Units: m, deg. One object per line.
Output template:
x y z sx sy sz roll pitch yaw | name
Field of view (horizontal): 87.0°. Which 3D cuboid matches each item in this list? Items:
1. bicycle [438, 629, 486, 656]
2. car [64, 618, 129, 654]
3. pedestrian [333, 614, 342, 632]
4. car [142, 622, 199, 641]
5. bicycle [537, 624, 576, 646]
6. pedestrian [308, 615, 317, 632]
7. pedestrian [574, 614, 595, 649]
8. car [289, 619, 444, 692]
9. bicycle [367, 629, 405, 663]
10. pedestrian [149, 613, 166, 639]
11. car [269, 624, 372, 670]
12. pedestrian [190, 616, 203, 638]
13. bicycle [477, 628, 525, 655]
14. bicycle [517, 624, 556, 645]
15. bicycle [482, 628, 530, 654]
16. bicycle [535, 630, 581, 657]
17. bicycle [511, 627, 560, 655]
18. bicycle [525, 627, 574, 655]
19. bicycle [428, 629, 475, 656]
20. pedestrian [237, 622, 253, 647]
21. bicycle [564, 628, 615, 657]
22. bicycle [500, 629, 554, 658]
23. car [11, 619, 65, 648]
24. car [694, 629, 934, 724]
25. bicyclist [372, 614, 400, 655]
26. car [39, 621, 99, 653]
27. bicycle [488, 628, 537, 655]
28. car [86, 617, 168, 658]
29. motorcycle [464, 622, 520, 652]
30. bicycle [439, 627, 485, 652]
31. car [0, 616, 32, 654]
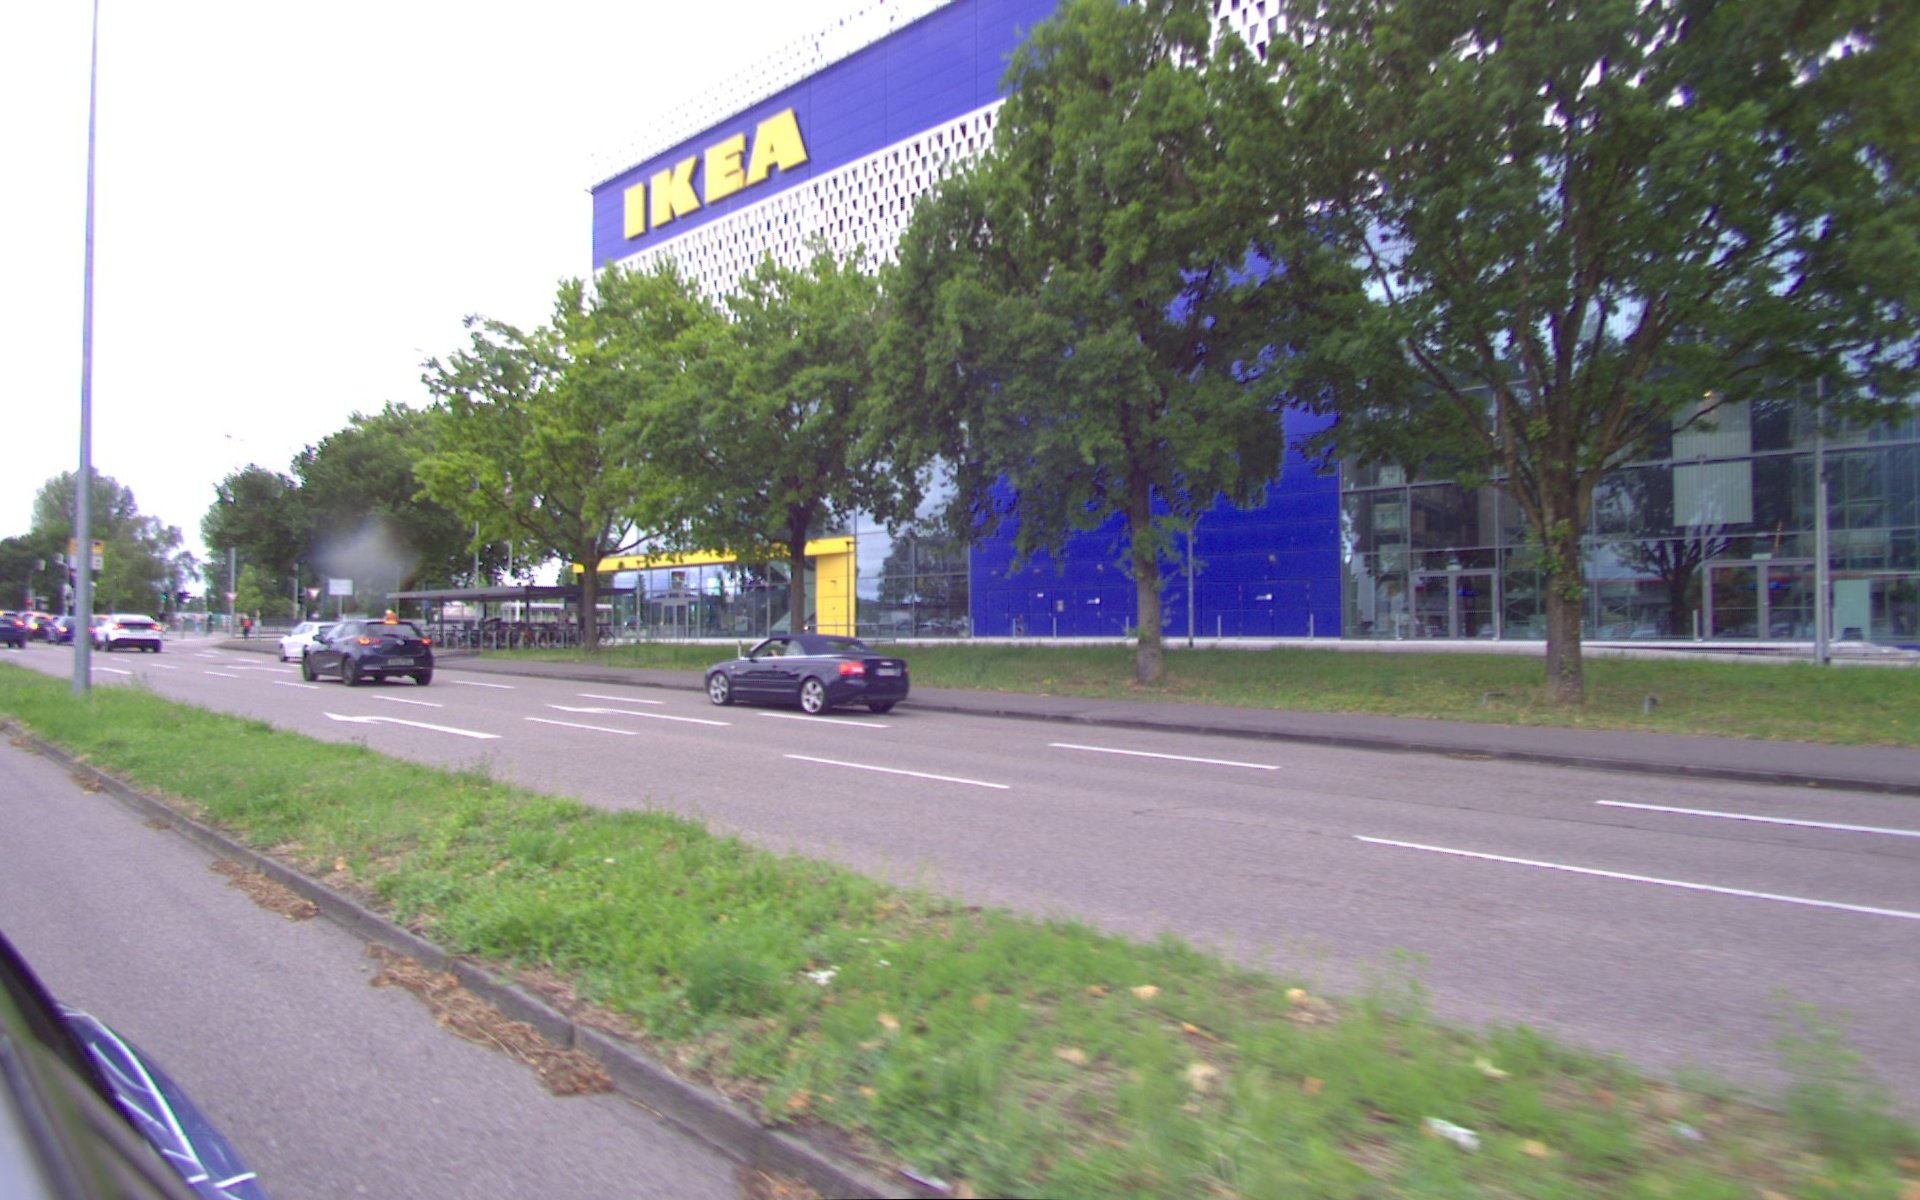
-22.718 1.928 46.225 0.593 1.165 1.874 -1 0 41 | bicycle
-39.434 1.634 46.201 4.035 1.509 1.586 0 -3 41 | car
-61.021 2.248 99.225 0.788 1.755 0.578 -4 -4 43 | pedestrian
-76.584 3.089 98.177 1.773 1.747 4.032 -4 -3 36 | car
-22.692 1.960 56.920 0.593 1.165 1.996 -1 0 39 | bicycle
-62.187 2.249 97.189 0.711 1.572 0.623 -4 -4 42 | pedestrian
-18.947 1.606 51.107 0.808 1.759 0.670 -2 -2 41 | pedestrian
-13.549 1.222 23.017 3.997 1.464 1.740 0 -3 40 | car
-22.523 1.788 39.728 2.055 1.260 0.636 -2 -1 41 | bicycle
-58.504 1.893 73.788 0.686 1.778 0.656 3 -2 38 | pedestrian
-22.531 1.633 35.592 4.165 1.465 1.847 -1 -4 40 | car
-59.143 2.102 78.416 0.766 1.725 0.666 -1 -2 45 | pedestrian
-21.839 1.959 48.184 0.593 1.165 1.995 -1 0 41 | bicycle
-24.471 1.993 58.520 0.593 1.165 1.996 -1 0 39 | bicycle
-21.351 1.920 47.666 0.593 1.165 1.995 -1 0 41 | bicycle
-17.615 1.877 44.390 0.593 1.090 1.791 -1 0 41 | bicycle
-19.428 1.872 46.335 0.593 1.165 1.995 -1 0 41 | bicycle
-18.438 1.829 45.492 0.593 1.165 1.995 -1 0 41 | bicycle
-23.552 1.957 46.912 0.593 1.165 1.874 -1 0 41 | bicycle
-47.787 2.309 67.614 0.808 1.655 0.627 1 -1 38 | pedestrian
-15.790 1.800 43.164 0.594 1.131 1.994 -1 0 43 | bicycle
-18.423 1.841 43.075 1.989 1.165 0.595 -1 0 -35 | bicycle
-49.304 1.763 54.111 4.062 1.514 1.645 -1 -1 41 | car
-2.694 1.297 18.134 4.401 1.463 1.754 -1 -3 40 | car
-22.530 1.354 39.707 0.999 1.589 0.634 -2 -1 41 | bicyclist
-44.253 1.844 50.244 4.141 1.455 1.586 0 -3 41 | car
-20.625 1.899 46.634 0.593 1.165 1.995 -1 0 41 | bicycle
-34.503 1.508 41.869 4.180 1.530 1.911 1 -1 41 | car
-22.700 1.768 49.122 0.796 1.365 2.476 -1 0 28 | motorcycle
-24.835 1.975 50.498 1.988 1.165 0.595 -1 0 -33 | bicycle
-40.297 1.411 42.103 4.436 1.497 1.911 0 -3 40 | car
